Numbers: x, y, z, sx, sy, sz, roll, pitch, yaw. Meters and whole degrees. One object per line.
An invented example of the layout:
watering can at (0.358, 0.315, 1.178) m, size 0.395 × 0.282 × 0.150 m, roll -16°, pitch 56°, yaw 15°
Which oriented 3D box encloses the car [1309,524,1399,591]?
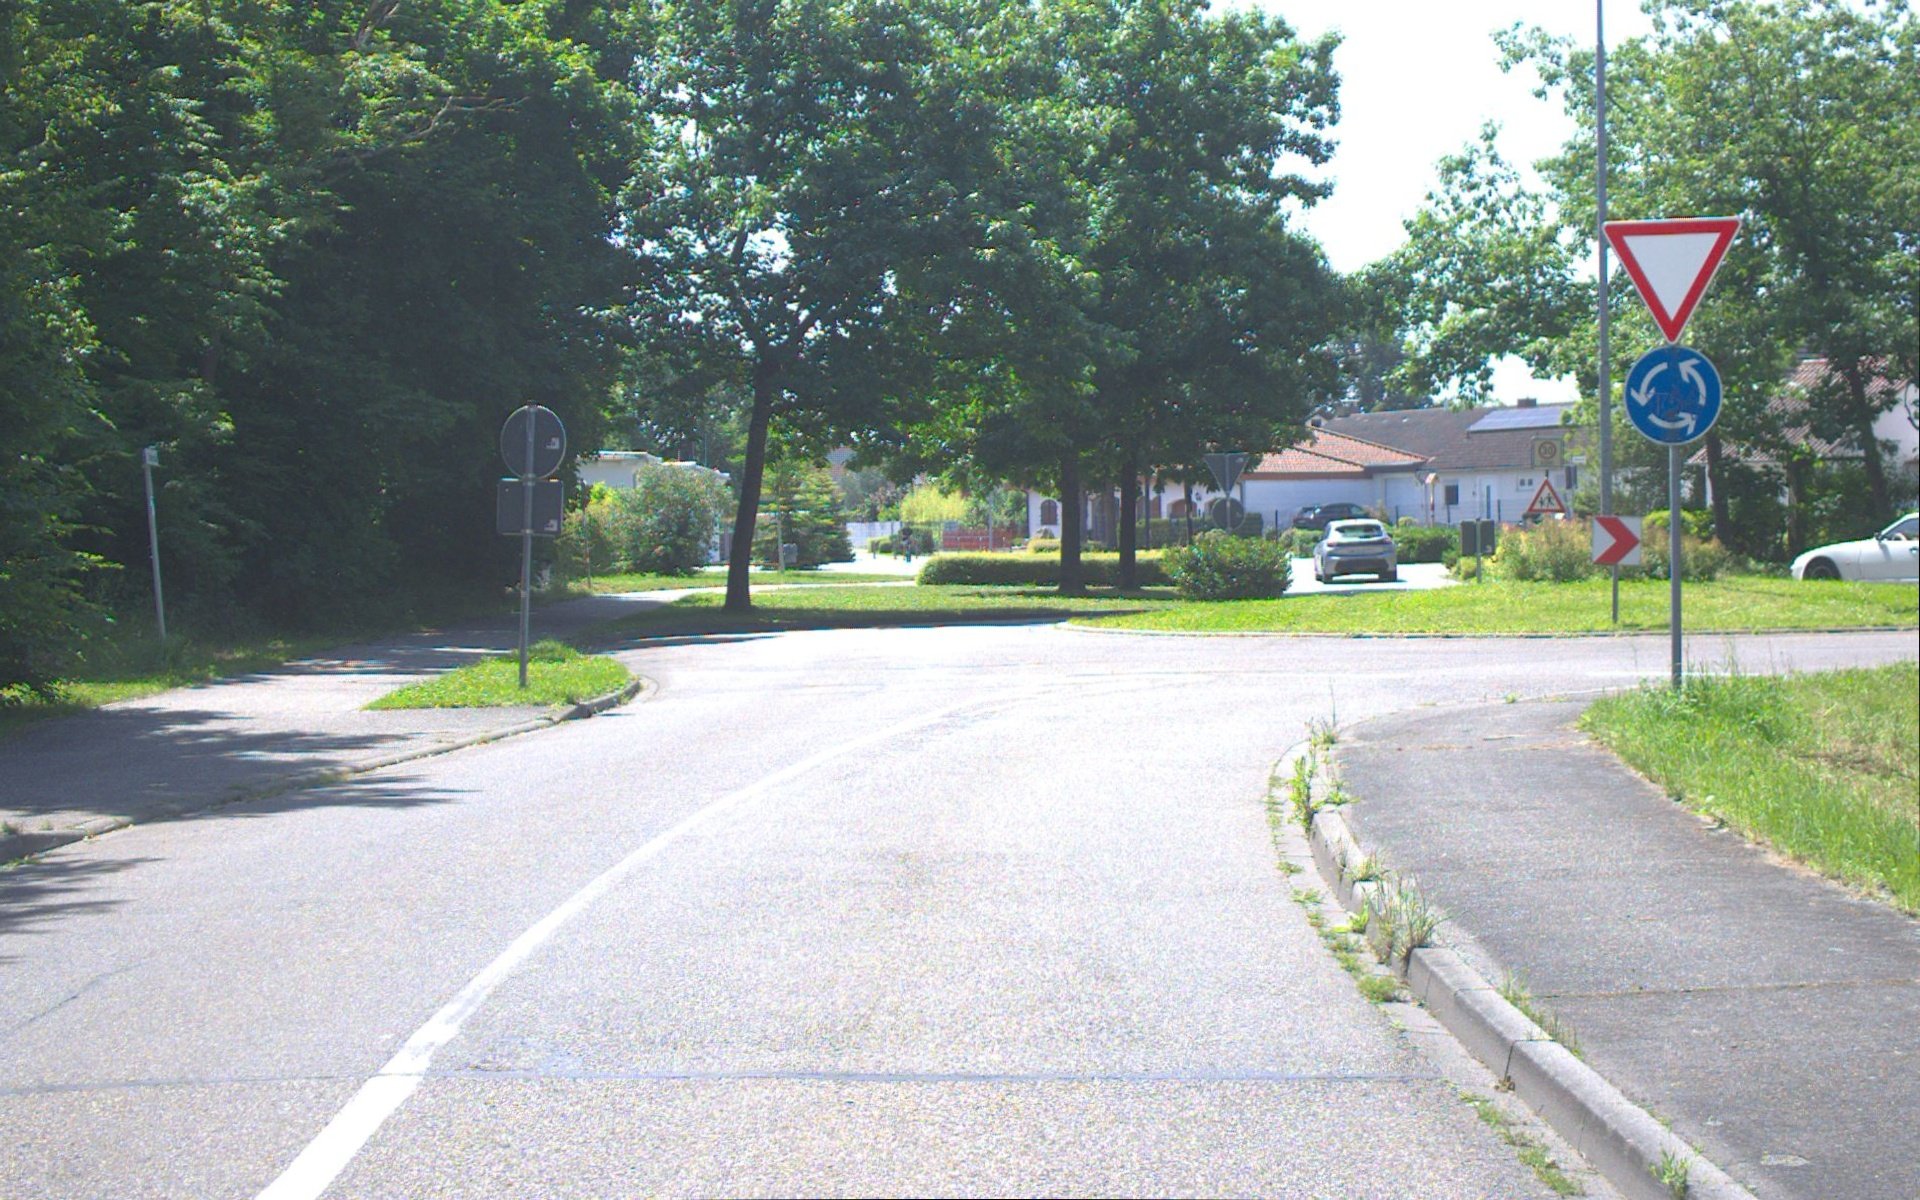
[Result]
car at (9.135, -1.008, 80.010) m, size 1.628 × 1.481 × 4.000 m, roll -1°, pitch 1°, yaw 0°

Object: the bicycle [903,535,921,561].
bicycle at (-1.741, -1.912, 125.142) m, size 0.597 × 0.925 × 1.620 m, roll -1°, pitch 1°, yaw -2°

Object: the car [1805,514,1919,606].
car at (13.813, -0.571, 48.429) m, size 1.614 × 1.284 × 3.556 m, roll -1°, pitch 1°, yaw -34°

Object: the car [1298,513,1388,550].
car at (16.849, -3.018, 151.240) m, size 3.826 × 1.537 × 1.853 m, roll -2°, pitch 1°, yaw -43°
